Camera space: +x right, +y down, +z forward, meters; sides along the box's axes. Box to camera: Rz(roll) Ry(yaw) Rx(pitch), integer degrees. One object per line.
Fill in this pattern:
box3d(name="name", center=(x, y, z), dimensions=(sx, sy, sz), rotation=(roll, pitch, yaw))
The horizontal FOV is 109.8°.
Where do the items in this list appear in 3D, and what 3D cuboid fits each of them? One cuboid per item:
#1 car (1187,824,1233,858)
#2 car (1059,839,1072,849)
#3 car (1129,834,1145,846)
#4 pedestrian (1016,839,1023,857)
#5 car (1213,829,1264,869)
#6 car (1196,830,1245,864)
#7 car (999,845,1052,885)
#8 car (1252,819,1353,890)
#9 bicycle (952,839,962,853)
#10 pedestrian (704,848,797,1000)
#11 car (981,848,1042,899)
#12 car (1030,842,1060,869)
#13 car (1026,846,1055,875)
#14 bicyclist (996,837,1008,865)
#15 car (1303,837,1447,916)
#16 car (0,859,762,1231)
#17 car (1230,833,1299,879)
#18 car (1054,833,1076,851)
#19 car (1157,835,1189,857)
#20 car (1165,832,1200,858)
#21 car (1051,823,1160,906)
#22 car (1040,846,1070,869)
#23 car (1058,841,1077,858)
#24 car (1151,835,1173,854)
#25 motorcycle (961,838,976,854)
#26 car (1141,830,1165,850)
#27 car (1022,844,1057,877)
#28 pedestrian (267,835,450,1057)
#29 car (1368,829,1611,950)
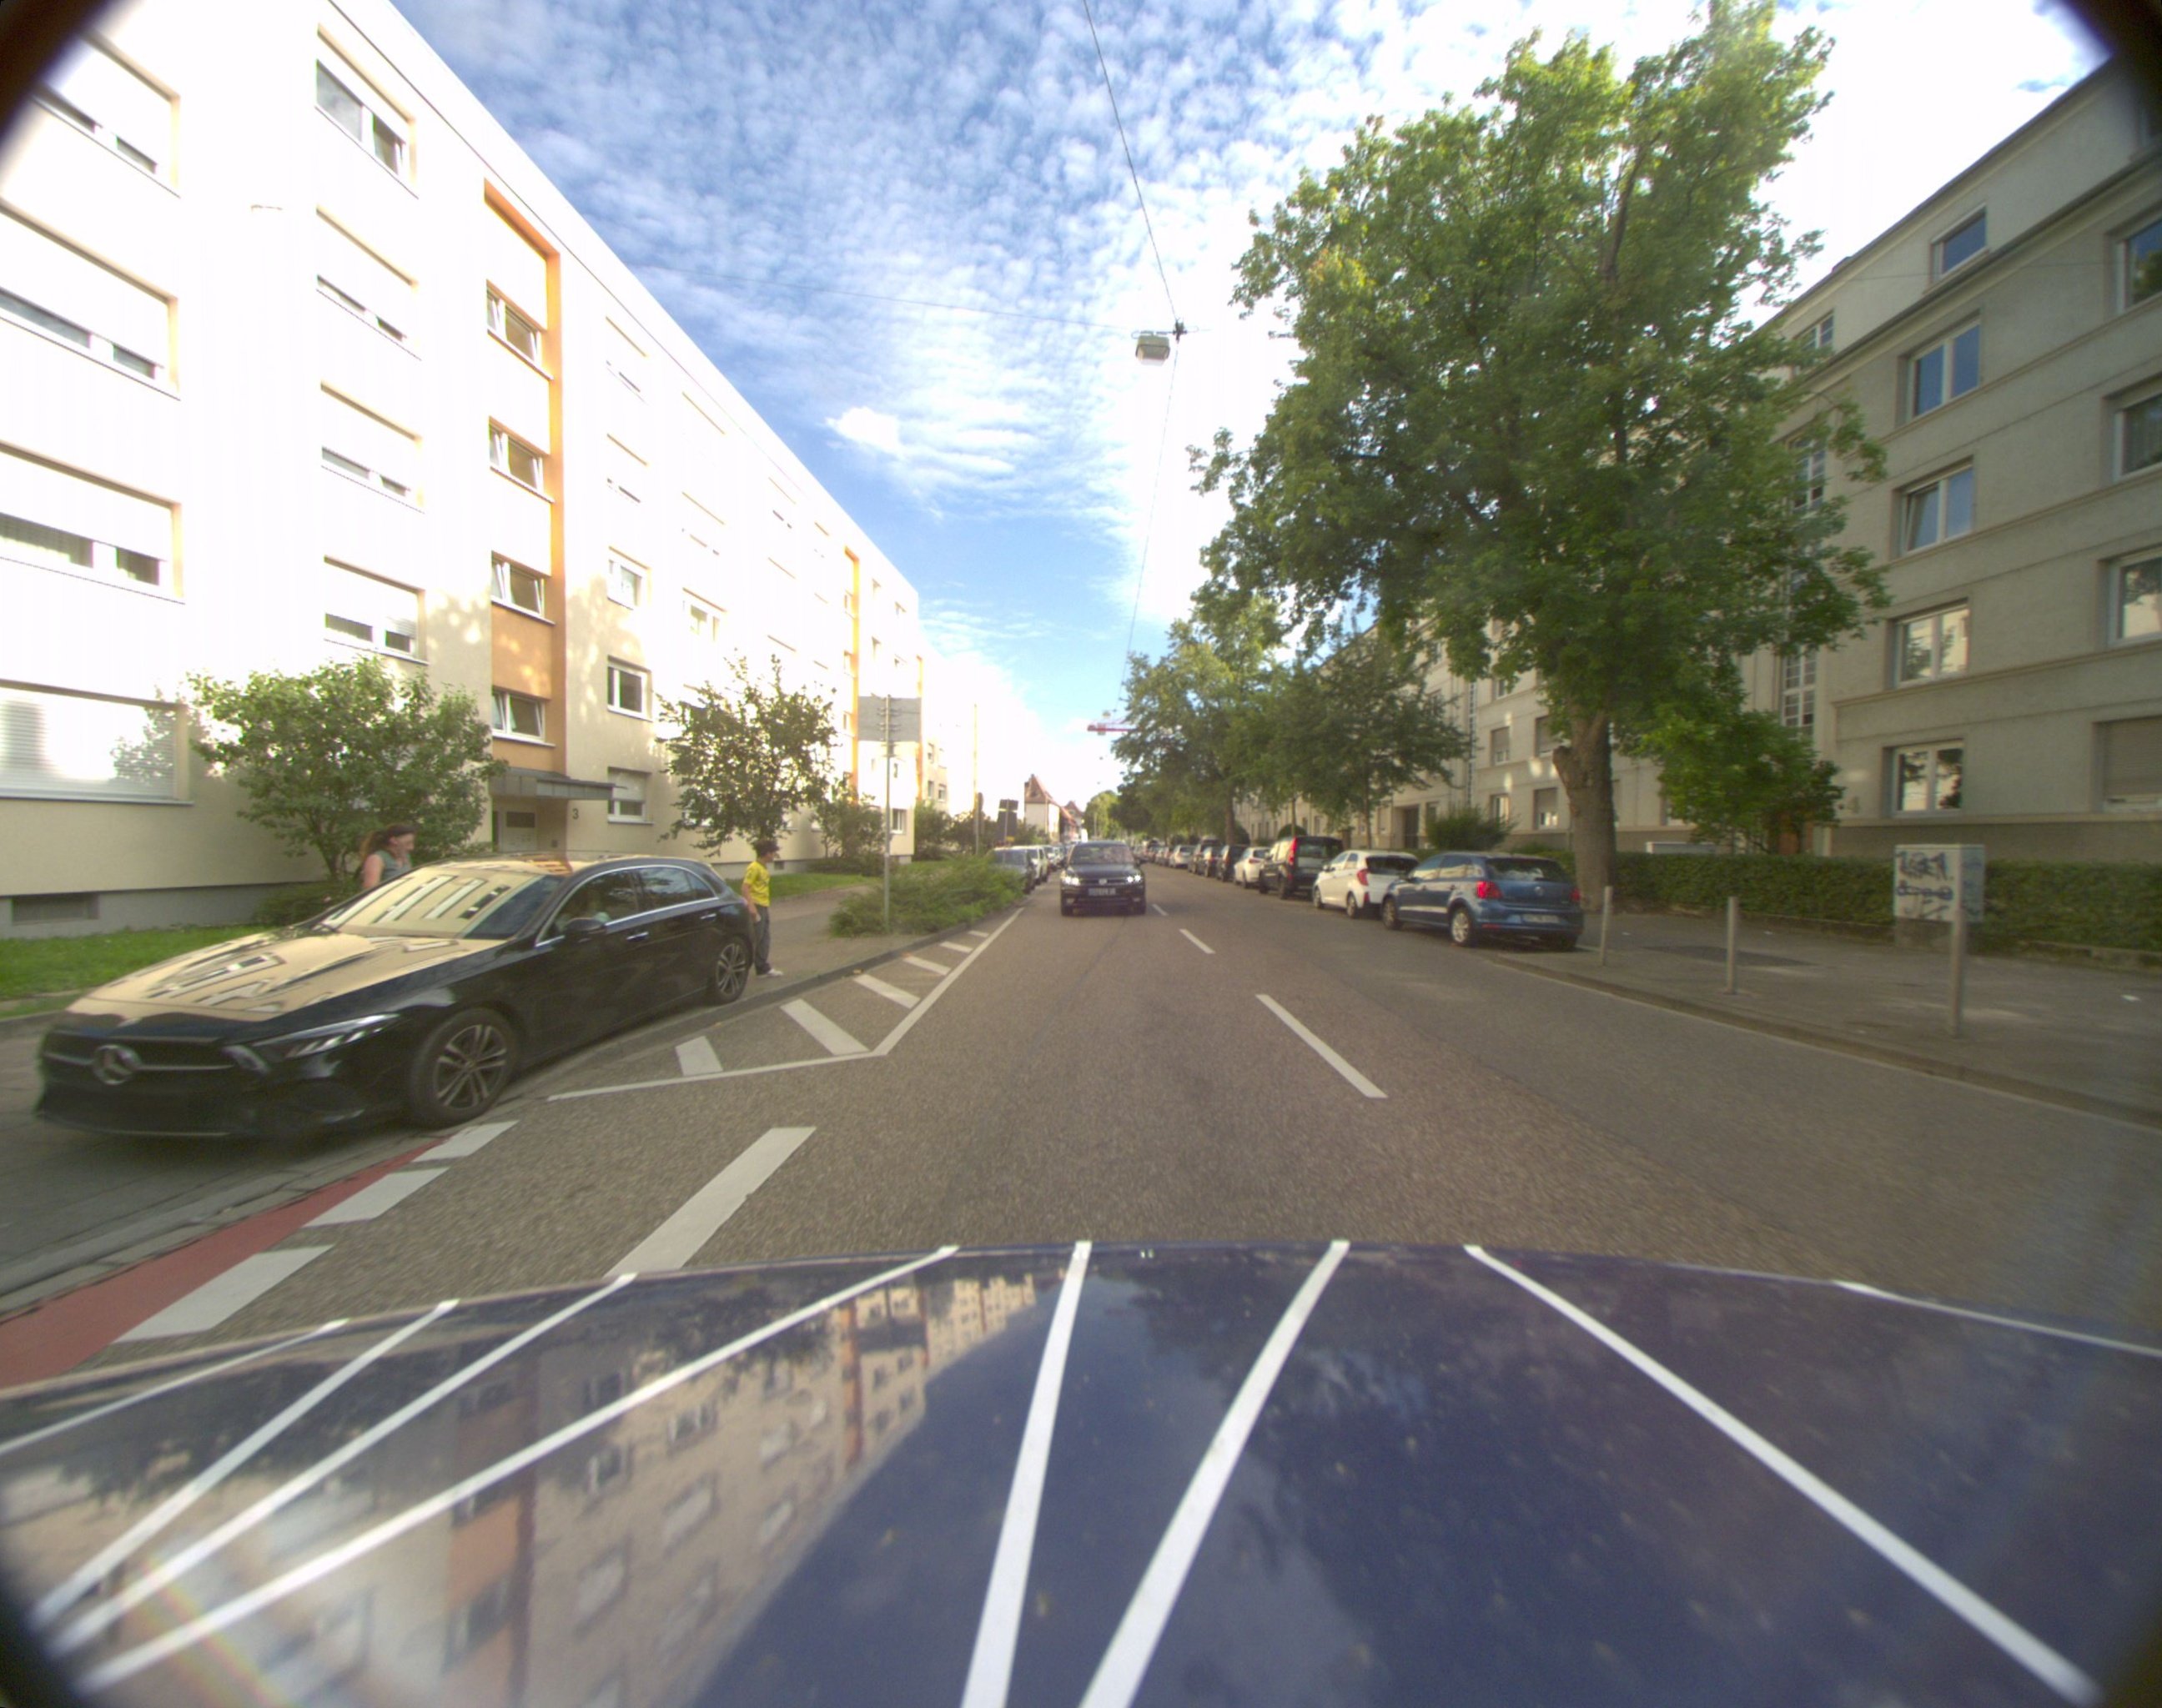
box3d(name="car", center=(6.971, -0.739, 41.371), dimensions=(1.803, 1.659, 4.482), rotation=(3, 2, 2))
box3d(name="car", center=(-2.437, -1.620, 122.089), dimensions=(1.767, 1.515, 4.329), rotation=(0, 1, 3))
box3d(name="car", center=(7.806, -1.972, 106.991), dimensions=(1.860, 1.478, 4.797), rotation=(4, 2, 1))
box3d(name="pedestrian", center=(-5.738, -0.546, 70.564), dimensions=(0.543, 1.712, 0.771), rotation=(0, 2, 6))
box3d(name="car", center=(6.619, -0.243, 32.154), dimensions=(1.556, 1.512, 3.016), rotation=(3, 2, 2))
box3d(name="car", center=(6.569, -0.360, 36.122), dimensions=(1.704, 1.478, 3.847), rotation=(3, 2, 2))
box3d(name="car", center=(-2.273, 0.397, 32.051), dimensions=(1.693, 1.520, 4.237), rotation=(0, 2, 3))
box3d(name="car", center=(6.449, -0.034, 22.615), dimensions=(1.727, 1.872, 4.190), rotation=(2, 2, 0))
box3d(name="bicycle", center=(-8.391, -0.535, 51.423), dimensions=(0.460, 0.936, 1.516), rotation=(1, 2, 0))
box3d(name="pedestrian", center=(-3.535, 0.721, 8.170), dimensions=(0.654, 1.530, 0.743), rotation=(2, 2, 1))
box3d(name="car", center=(-2.310, 0.593, 26.159), dimensions=(1.694, 1.520, 4.236), rotation=(1, 2, 0))
box3d(name="car", center=(-2.174, 0.064, 46.903), dimensions=(1.733, 1.571, 4.116), rotation=(0, 1, -1))
box3d(name="car", center=(-2.239, 0.331, 42.307), dimensions=(1.519, 1.390, 3.674), rotation=(1, 2, -3))
box3d(name="bicyclist", center=(-4.729, -0.178, 45.750), dimensions=(0.625, 1.668, 0.892), rotation=(0, 2, 0))
box3d(name="car", center=(6.451, 0.411, 17.162), dimensions=(1.803, 1.485, 3.802), rotation=(3, 2, 2))
box3d(name="car", center=(-4.176, 0.833, 5.402), dimensions=(1.764, 1.404, 4.233), rotation=(2, 2, 4))
box3d(name="car", center=(6.602, 0.024, 27.773), dimensions=(1.698, 1.485, 4.332), rotation=(2, 2, 4))
box3d(name="car", center=(-1.364, -1.066, 65.654), dimensions=(1.733, 1.453, 4.115), rotation=(1, 2, 0))
box3d(name="car", center=(6.638, -0.583, 55.118), dimensions=(1.618, 1.460, 4.012), rotation=(3, 1, -1))
box3d(name="car", center=(6.718, -0.636, 50.633), dimensions=(1.743, 1.611, 3.993), rotation=(3, 2, -1))
box3d(name="car", center=(0.437, 0.157, 17.636), dimensions=(1.861, 1.674, 3.996), rotation=(-1, 2, -8))
box3d(name="car", center=(-1.783, 0.232, 52.852), dimensions=(1.732, 1.479, 4.641), rotation=(0, 1, 2))
box3d(name="car", center=(-1.322, -0.452, 71.897), dimensions=(1.733, 1.507, 4.189), rotation=(0, 1, -2))
box3d(name="car", center=(6.991, -0.843, 65.809), dimensions=(1.689, 1.472, 4.451), rotation=(4, 2, 4))
box3d(name="motorcycle", center=(-7.483, -0.537, 50.781), dimensions=(0.632, 1.039, 2.393), rotation=(2, 2, 0))
box3d(name="car", center=(7.193, -1.426, 76.298), dimensions=(1.882, 1.783, 4.968), rotation=(2, 2, 0))
box3d(name="car", center=(-2.034, 0.309, 38.070), dimensions=(1.555, 1.548, 3.467), rotation=(0, 1, 0))
box3d(name="pedestrian", center=(-5.600, 0.670, 5.941), dimensions=(0.654, 1.636, 0.743), rotation=(0, 2, 1))
box3d(name="car", center=(6.390, 0.448, 12.440), dimensions=(1.804, 1.611, 3.801), rotation=(3, 2, -1))
